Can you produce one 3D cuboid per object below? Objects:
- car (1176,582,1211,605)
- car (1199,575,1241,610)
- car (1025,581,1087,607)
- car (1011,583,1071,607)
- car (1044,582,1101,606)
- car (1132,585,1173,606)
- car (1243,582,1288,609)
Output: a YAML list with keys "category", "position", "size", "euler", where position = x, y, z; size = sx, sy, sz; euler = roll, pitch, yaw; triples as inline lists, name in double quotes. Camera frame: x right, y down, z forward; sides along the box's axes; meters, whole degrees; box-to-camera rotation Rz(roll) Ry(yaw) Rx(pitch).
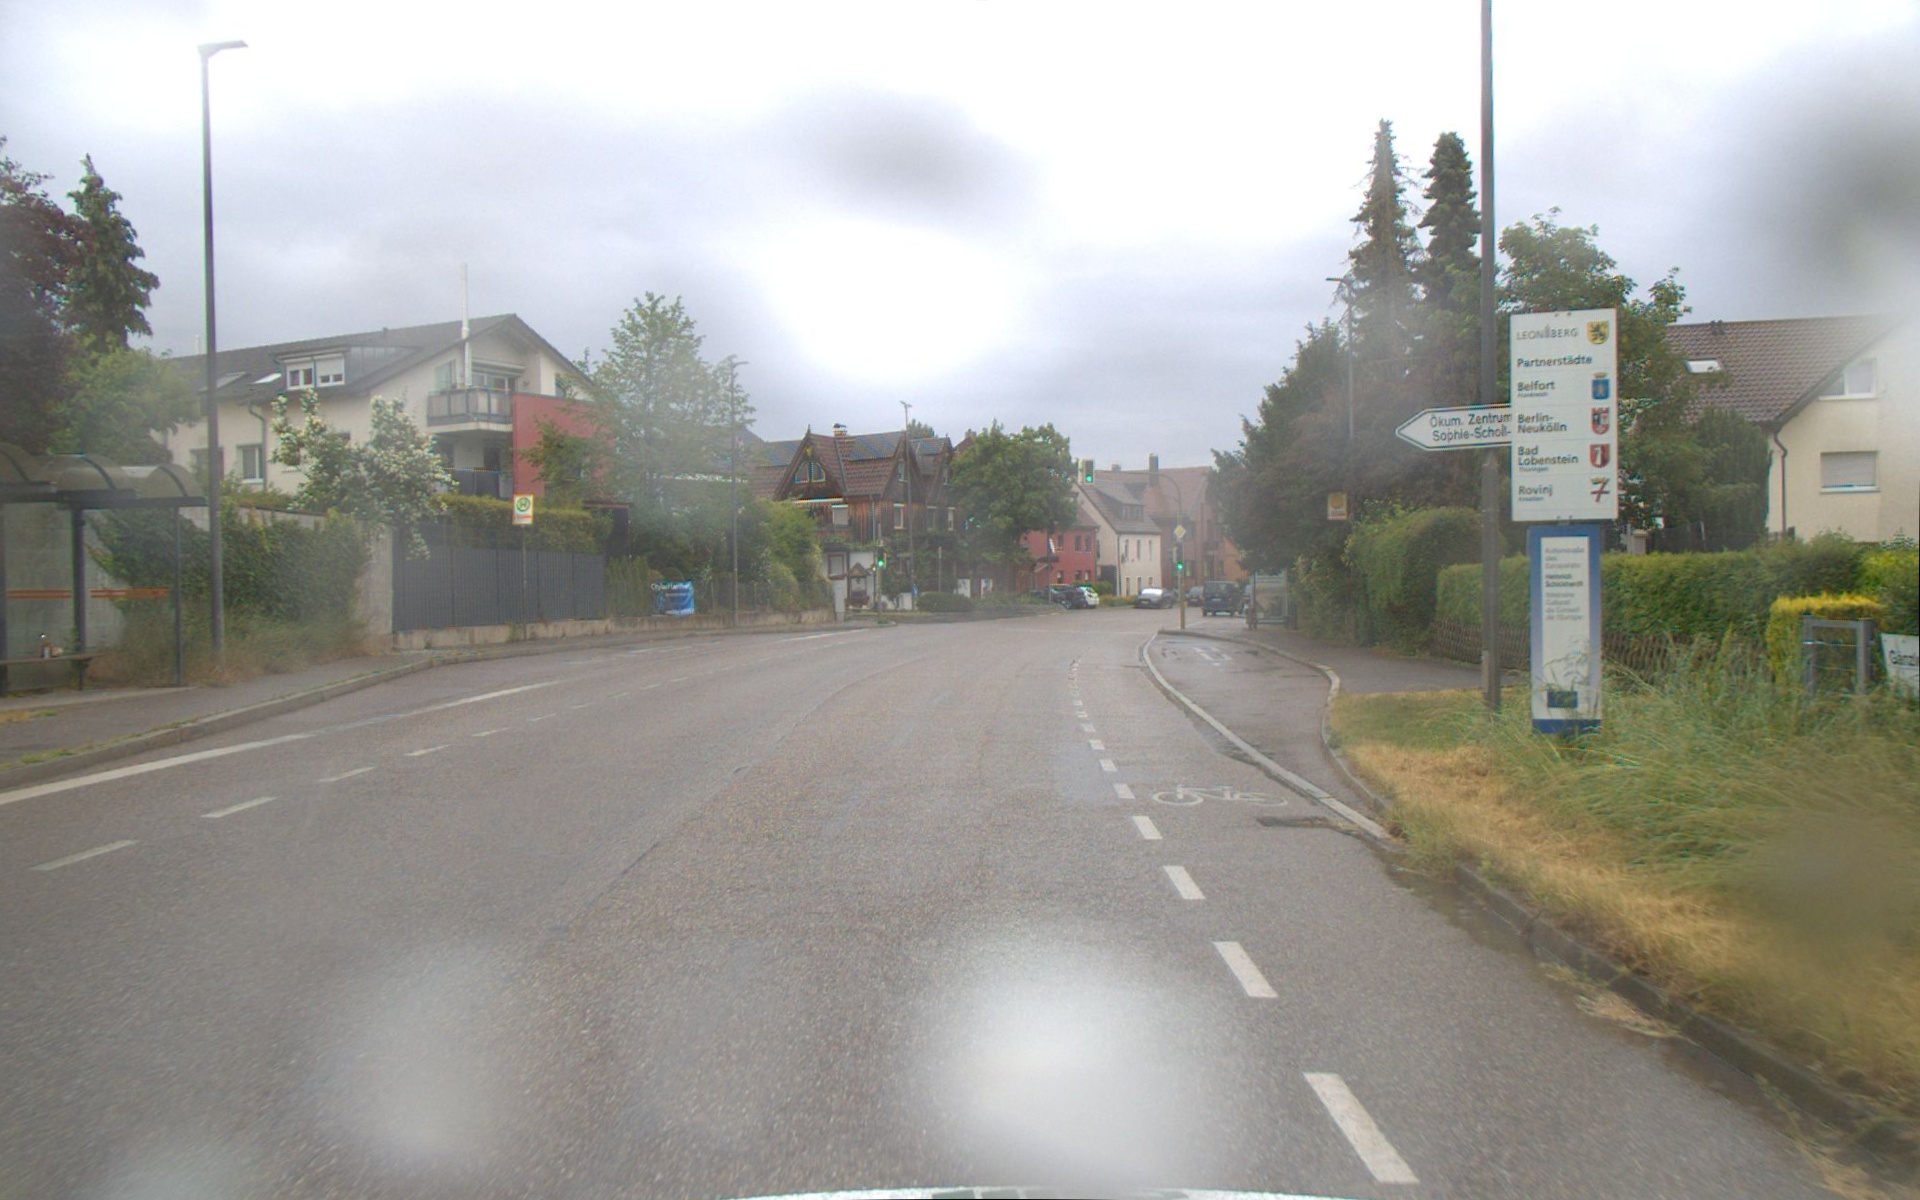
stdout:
- category: "car"
  position: [17.127, -0.479, 121.117]
  size: [1.573, 1.646, 3.274]
  euler: [-1, 0, 26]
- category: "car"
  position: [15.081, -0.461, 95.793]
  size: [1.889, 1.935, 4.797]
  euler: [1, 1, 15]
- category: "car"
  position: [6.119, -0.413, 105.717]
  size: [3.509, 1.532, 1.852]
  euler: [2, 2, 30]
- category: "car"
  position: [5.071, -0.314, 103.727]
  size: [3.379, 1.443, 1.631]
  euler: [-1, 0, 28]
- category: "car"
  position: [7.394, -0.375, 108.619]
  size: [3.394, 1.505, 1.589]
  euler: [-1, 0, 28]
- category: "car"
  position: [13.021, -0.326, 111.511]
  size: [1.594, 1.379, 4.109]
  euler: [1, 1, 24]
- category: "car"
  position: [20.424, -0.336, 110.481]
  size: [1.871, 1.747, 4.552]
  euler: [2, 1, 25]
